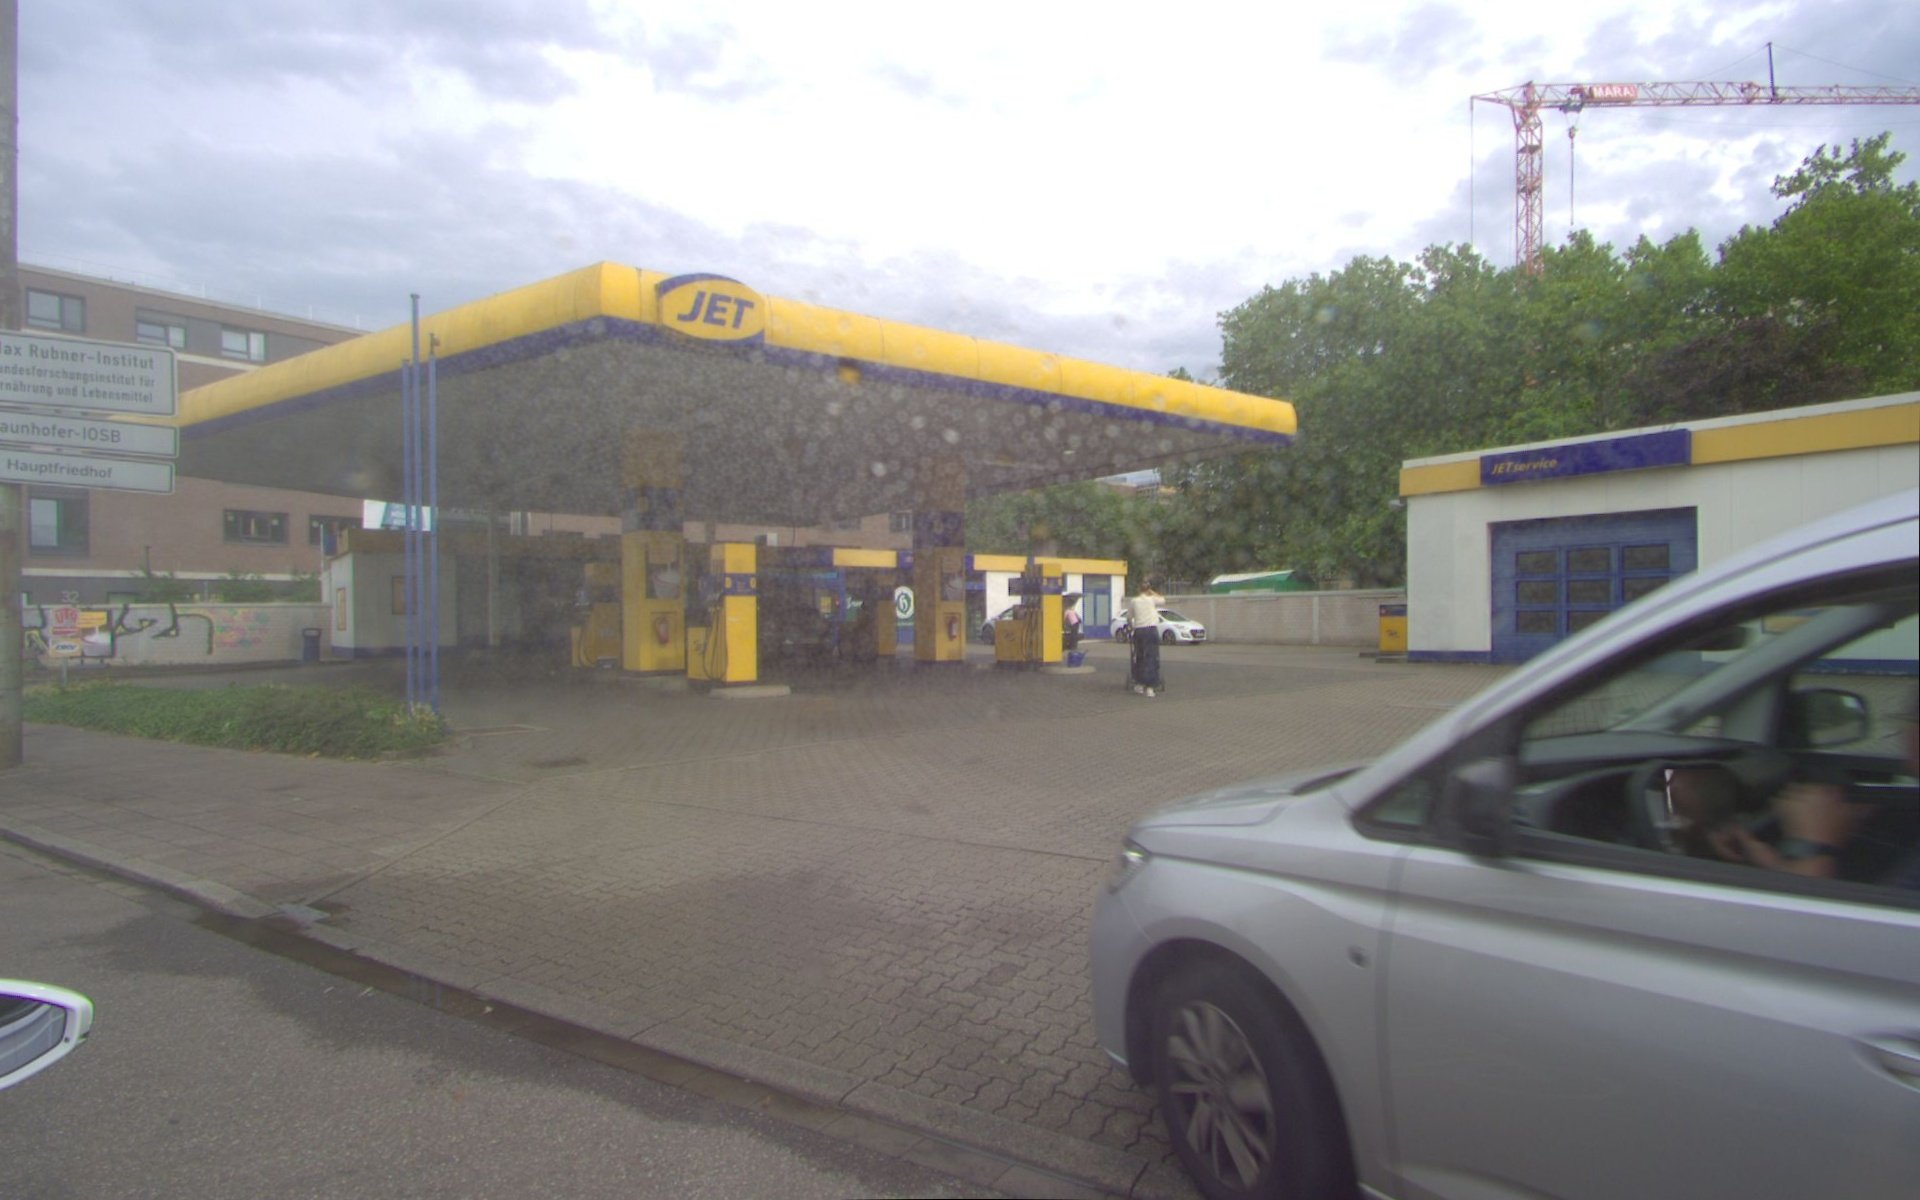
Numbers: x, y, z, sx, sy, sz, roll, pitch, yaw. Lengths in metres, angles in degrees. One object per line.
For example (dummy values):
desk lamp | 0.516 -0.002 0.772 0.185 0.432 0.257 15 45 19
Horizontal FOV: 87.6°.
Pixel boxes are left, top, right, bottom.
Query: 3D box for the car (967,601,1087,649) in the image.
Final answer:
car | 2.496 0.907 38.291 1.919 1.617 4.723 0 1 -38

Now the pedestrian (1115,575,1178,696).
pedestrian | 2.922 0.529 15.785 0.592 1.844 0.968 0 2 -14

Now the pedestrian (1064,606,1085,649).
pedestrian | 4.180 0.995 36.468 0.492 1.564 0.547 0 1 -34

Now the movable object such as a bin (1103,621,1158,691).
movable object such as a bin | 2.771 0.896 16.316 0.592 1.080 0.794 0 2 -14

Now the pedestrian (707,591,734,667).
pedestrian | -5.822 0.702 24.378 0.615 1.810 0.707 0 -1 -13

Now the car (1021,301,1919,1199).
car | 2.229 0.507 1.743 1.960 1.868 4.499 -2 1 -33

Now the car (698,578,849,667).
car | -4.685 0.555 24.681 1.804 2.014 4.219 -1 -1 -40

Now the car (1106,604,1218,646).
car | 8.367 1.012 41.738 1.936 1.607 4.391 1 0 -37
